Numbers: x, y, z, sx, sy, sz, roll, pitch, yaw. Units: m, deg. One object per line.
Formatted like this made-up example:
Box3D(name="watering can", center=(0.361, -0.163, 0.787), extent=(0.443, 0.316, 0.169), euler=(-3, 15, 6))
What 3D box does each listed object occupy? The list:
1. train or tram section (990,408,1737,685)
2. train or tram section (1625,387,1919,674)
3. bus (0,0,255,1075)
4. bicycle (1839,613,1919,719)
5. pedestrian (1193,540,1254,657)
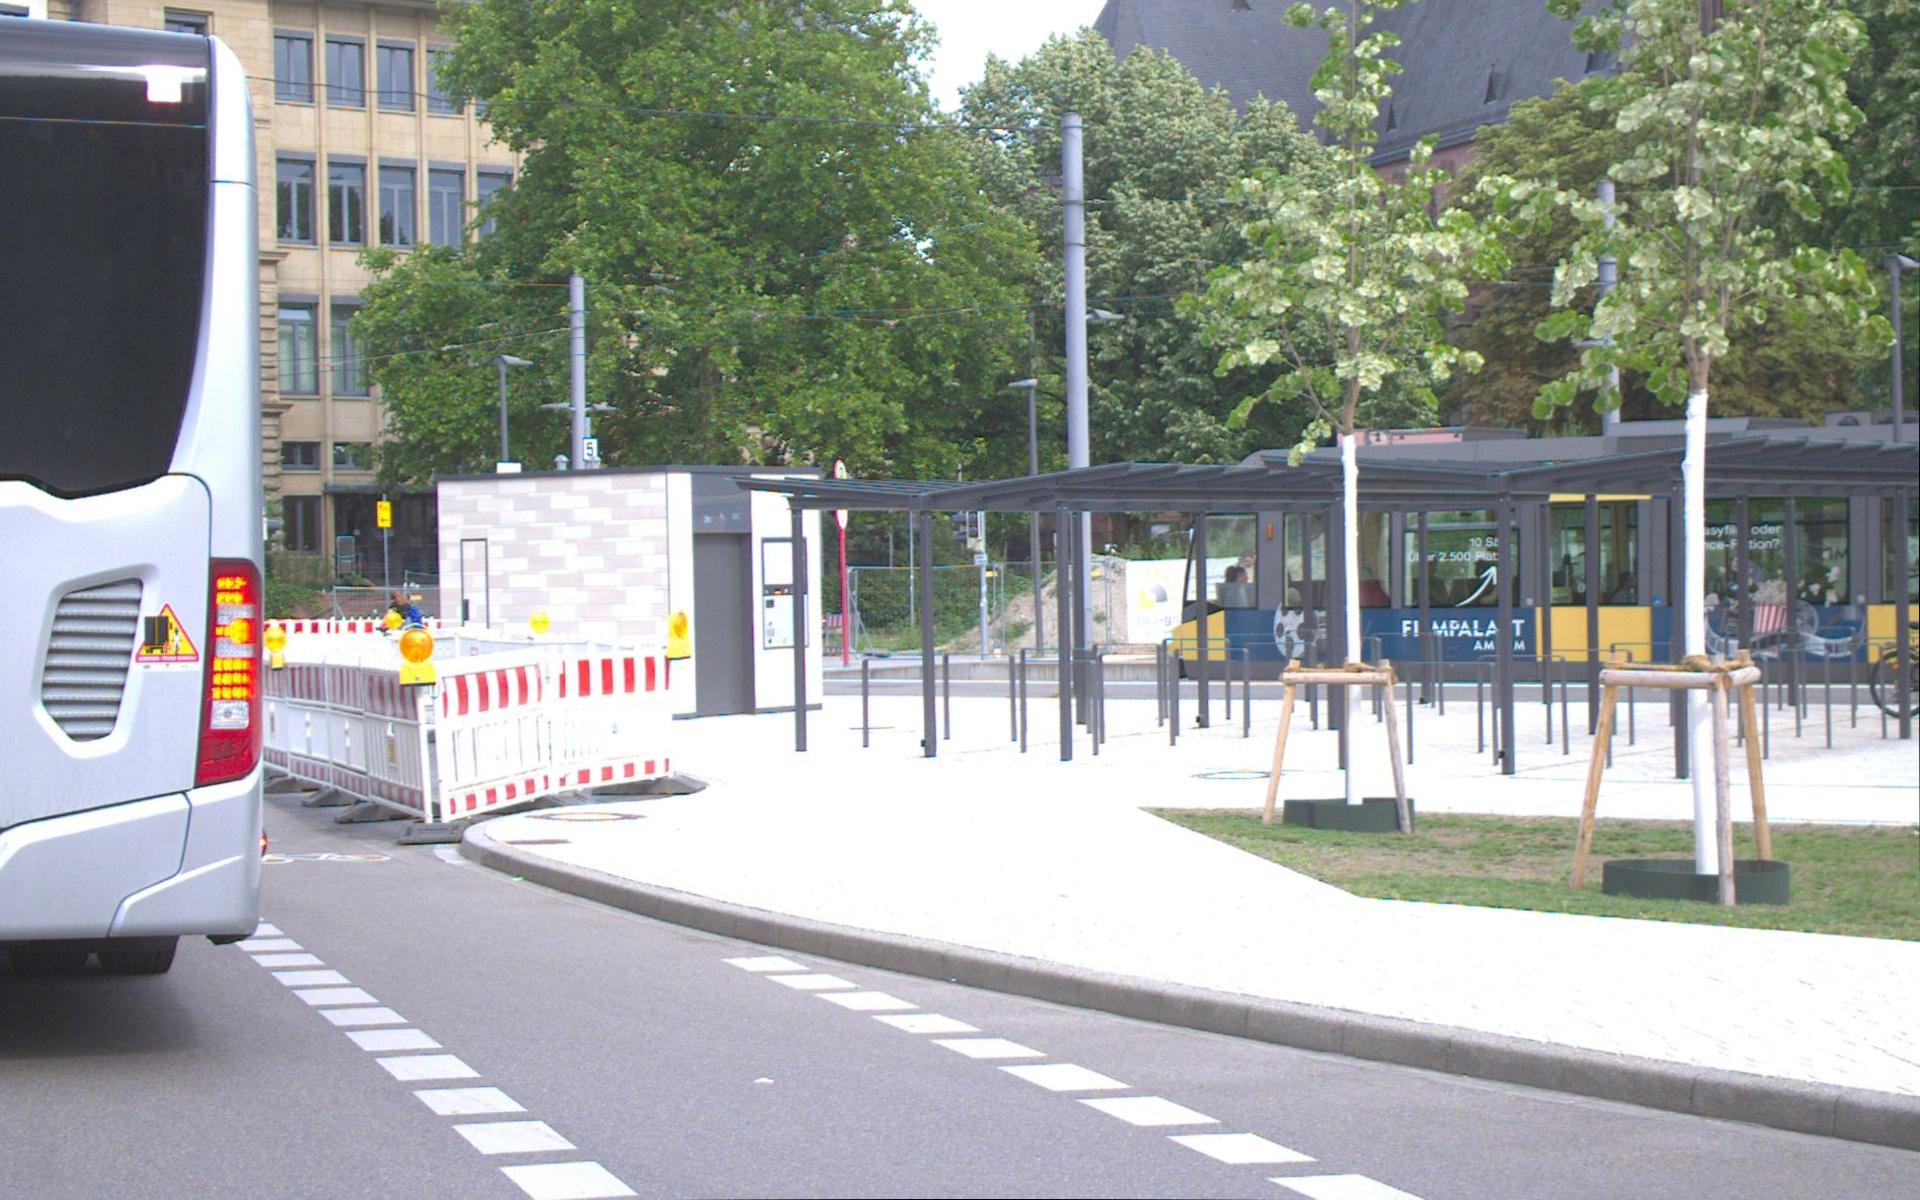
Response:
Box3D(name="train or tram section", center=(5.052, -0.812, 44.597), extent=(9.360, 3.266, 3.056), euler=(2, 3, 37))
Box3D(name="train or tram section", center=(12.524, -0.799, 38.924), extent=(9.420, 3.201, 3.056), euler=(2, 3, 37))
Box3D(name="bus", center=(-5.572, -0.278, 16.459), extent=(2.704, 3.427, 14.187), euler=(-1, 0, -18))
Box3D(name="bicycle", center=(9.303, 0.633, 32.252), extent=(1.964, 0.951, 0.583), euler=(2, 3, 34))
Box3D(name="pedestrian", center=(4.103, -0.032, 53.611), extent=(0.821, 1.794, 0.752), euler=(0, 2, -6))
